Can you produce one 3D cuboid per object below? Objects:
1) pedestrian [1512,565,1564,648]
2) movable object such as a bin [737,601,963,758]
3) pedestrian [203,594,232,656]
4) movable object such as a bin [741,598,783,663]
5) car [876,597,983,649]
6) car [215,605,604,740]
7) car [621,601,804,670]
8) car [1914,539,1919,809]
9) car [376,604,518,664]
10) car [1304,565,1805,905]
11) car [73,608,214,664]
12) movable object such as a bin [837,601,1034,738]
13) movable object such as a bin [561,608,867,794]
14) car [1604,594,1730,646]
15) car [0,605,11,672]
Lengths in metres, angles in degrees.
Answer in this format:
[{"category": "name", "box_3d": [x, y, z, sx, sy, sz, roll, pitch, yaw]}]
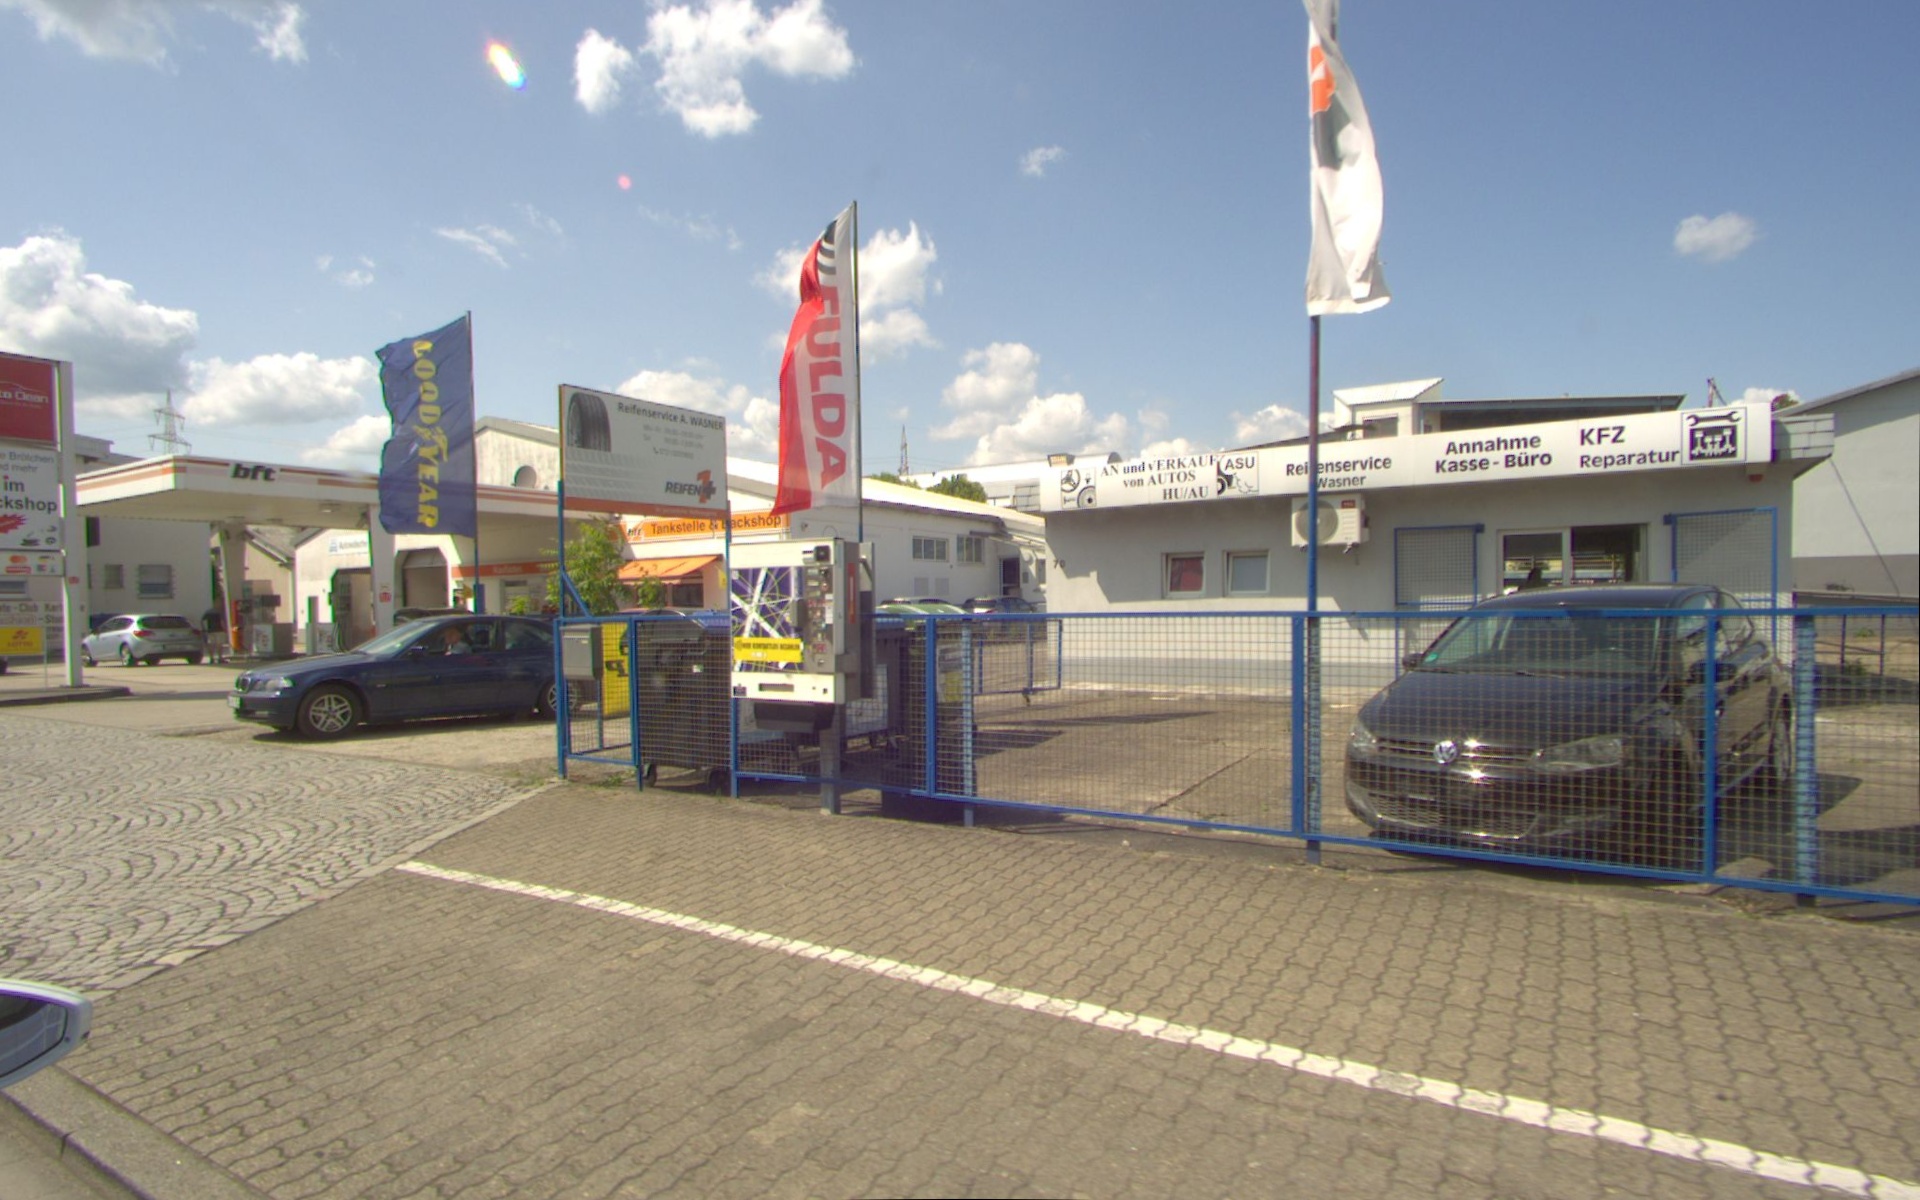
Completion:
[{"category": "pedestrian", "box_3d": [9.430, 0.117, 16.363, 0.624, 1.318, 0.698, -1, -1, 22]}, {"category": "movable object such as a bin", "box_3d": [-1.101, 0.766, 10.226, 1.740, 1.428, 1.530, -1, -2, 31]}, {"category": "pedestrian", "box_3d": [-21.818, 0.751, 29.424, 0.569, 1.799, 0.496, -1, -1, 30]}, {"category": "movable object such as a bin", "box_3d": [-4.348, 0.656, 22.016, 0.696, 1.410, 0.579, 0, 1, 30]}, {"category": "car", "box_3d": [-0.881, 0.680, 30.943, 1.507, 1.443, 3.574, -1, 0, 33]}, {"category": "car", "box_3d": [-6.795, 0.831, 12.721, 1.628, 1.426, 4.035, -2, -2, 40]}, {"category": "car", "box_3d": [-5.760, 0.792, 23.803, 1.747, 1.443, 4.124, -2, 0, 33]}, {"category": "car", "box_3d": [6.583, 0.499, 5.352, 4.219, 1.524, 1.811, 2, -3, -42]}, {"category": "car", "box_3d": [-14.961, 0.932, 29.144, 4.427, 1.540, 1.679, 1, 1, 32]}, {"category": "car", "box_3d": [3.925, 0.576, 6.319, 3.867, 1.482, 1.612, -2, 0, -42]}, {"category": "car", "box_3d": [-23.853, 1.047, 29.231, 4.357, 1.490, 1.689, -2, 1, 30]}, {"category": "movable object such as a bin", "box_3d": [-0.263, 0.768, 11.545, 1.740, 1.428, 1.530, -1, -2, 31]}, {"category": "movable object such as a bin", "box_3d": [-2.058, 0.790, 8.618, 1.684, 1.364, 1.960, -1, -2, 31]}, {"category": "car", "box_3d": [25.185, 0.695, 35.815, 3.545, 1.764, 1.534, 0, -1, 31]}, {"category": "car", "box_3d": [-25.696, 0.961, 25.007, 4.552, 1.646, 1.941, -1, -1, 34]}]
